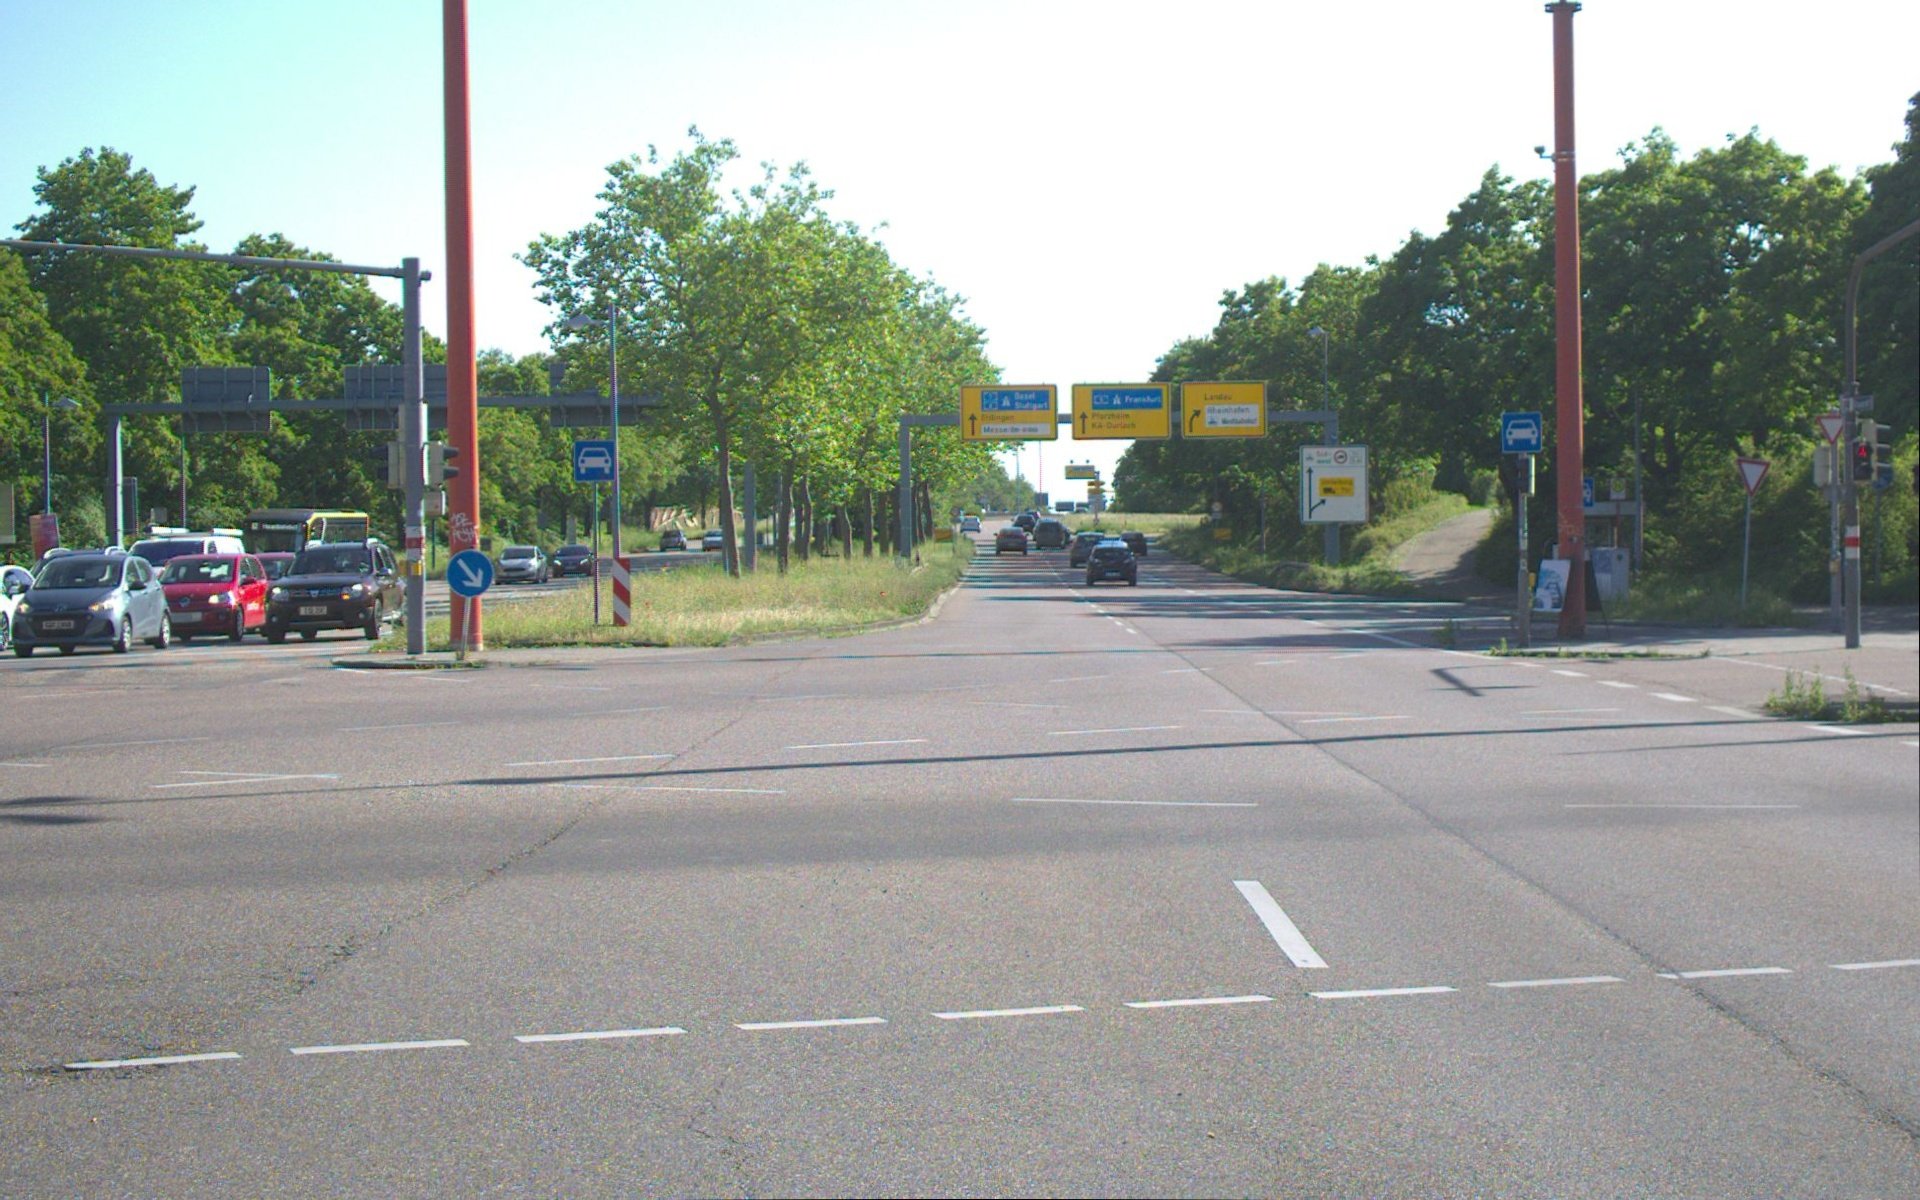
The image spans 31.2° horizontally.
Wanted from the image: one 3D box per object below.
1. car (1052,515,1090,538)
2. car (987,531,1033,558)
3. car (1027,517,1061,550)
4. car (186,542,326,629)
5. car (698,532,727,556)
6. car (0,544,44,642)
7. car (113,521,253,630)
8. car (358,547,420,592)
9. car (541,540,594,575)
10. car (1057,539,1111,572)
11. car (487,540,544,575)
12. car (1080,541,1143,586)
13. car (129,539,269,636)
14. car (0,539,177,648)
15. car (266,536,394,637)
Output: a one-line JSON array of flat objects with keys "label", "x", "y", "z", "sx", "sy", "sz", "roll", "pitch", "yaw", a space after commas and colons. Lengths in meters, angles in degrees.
[{"label": "car", "x": 7.634, "y": -5.063, "z": 237.196, "sx": 2.158, "sy": 1.568, "sz": 4.281, "roll": -1, "pitch": 1, "yaw": -4}, {"label": "car", "x": 2.950, "y": -3.281, "z": 202.157, "sx": 2.245, "sy": 1.568, "sz": 4.282, "roll": -1, "pitch": 1, "yaw": -5}, {"label": "car", "x": 5.319, "y": -4.208, "z": 217.644, "sx": 1.993, "sy": 2.007, "sz": 4.000, "roll": -1, "pitch": 1, "yaw": -1}, {"label": "car", "x": -13.114, "y": -0.296, "z": 64.247, "sx": 1.993, "sy": 1.568, "sz": 4.121, "roll": -1, "pitch": 1, "yaw": -4}, {"label": "car", "x": -16.603, "y": -3.737, "z": 230.376, "sx": 1.876, "sy": 1.568, "sz": 3.948, "roll": -1, "pitch": 1, "yaw": -5}, {"label": "car", "x": -16.486, "y": -0.117, "z": 57.036, "sx": 1.993, "sy": 1.568, "sz": 4.122, "roll": -2, "pitch": 1, "yaw": -8}, {"label": "car", "x": -16.112, "y": -0.528, "z": 71.508, "sx": 2.062, "sy": 2.185, "sz": 4.379, "roll": -1, "pitch": 1, "yaw": -2}, {"label": "car", "x": -20.749, "y": -1.125, "z": 124.961, "sx": 1.876, "sy": 1.568, "sz": 4.121, "roll": -1, "pitch": 1, "yaw": -5}, {"label": "car", "x": -18.271, "y": -1.995, "z": 160.314, "sx": 1.993, "sy": 1.568, "sz": 4.121, "roll": -1, "pitch": 1, "yaw": 0}, {"label": "car", "x": 6.034, "y": -2.154, "z": 167.562, "sx": 2.158, "sy": 1.568, "sz": 4.281, "roll": -1, "pitch": 1, "yaw": -4}, {"label": "car", "x": -18.500, "y": -1.776, "z": 143.109, "sx": 1.884, "sy": 1.449, "sz": 3.656, "roll": -1, "pitch": 1, "yaw": 0}, {"label": "car", "x": 5.406, "y": -1.332, "z": 123.472, "sx": 2.159, "sy": 1.568, "sz": 4.281, "roll": -1, "pitch": 1, "yaw": 1}, {"label": "car", "x": -12.896, "y": -0.235, "z": 58.468, "sx": 1.993, "sy": 1.568, "sz": 4.122, "roll": -1, "pitch": 1, "yaw": -8}, {"label": "car", "x": -13.250, "y": -0.132, "z": 52.167, "sx": 1.993, "sy": 1.568, "sz": 4.121, "roll": -1, "pitch": 1, "yaw": -3}, {"label": "car", "x": -10.245, "y": -0.244, "z": 56.148, "sx": 1.876, "sy": 1.568, "sz": 4.122, "roll": -1, "pitch": 1, "yaw": -8}]
